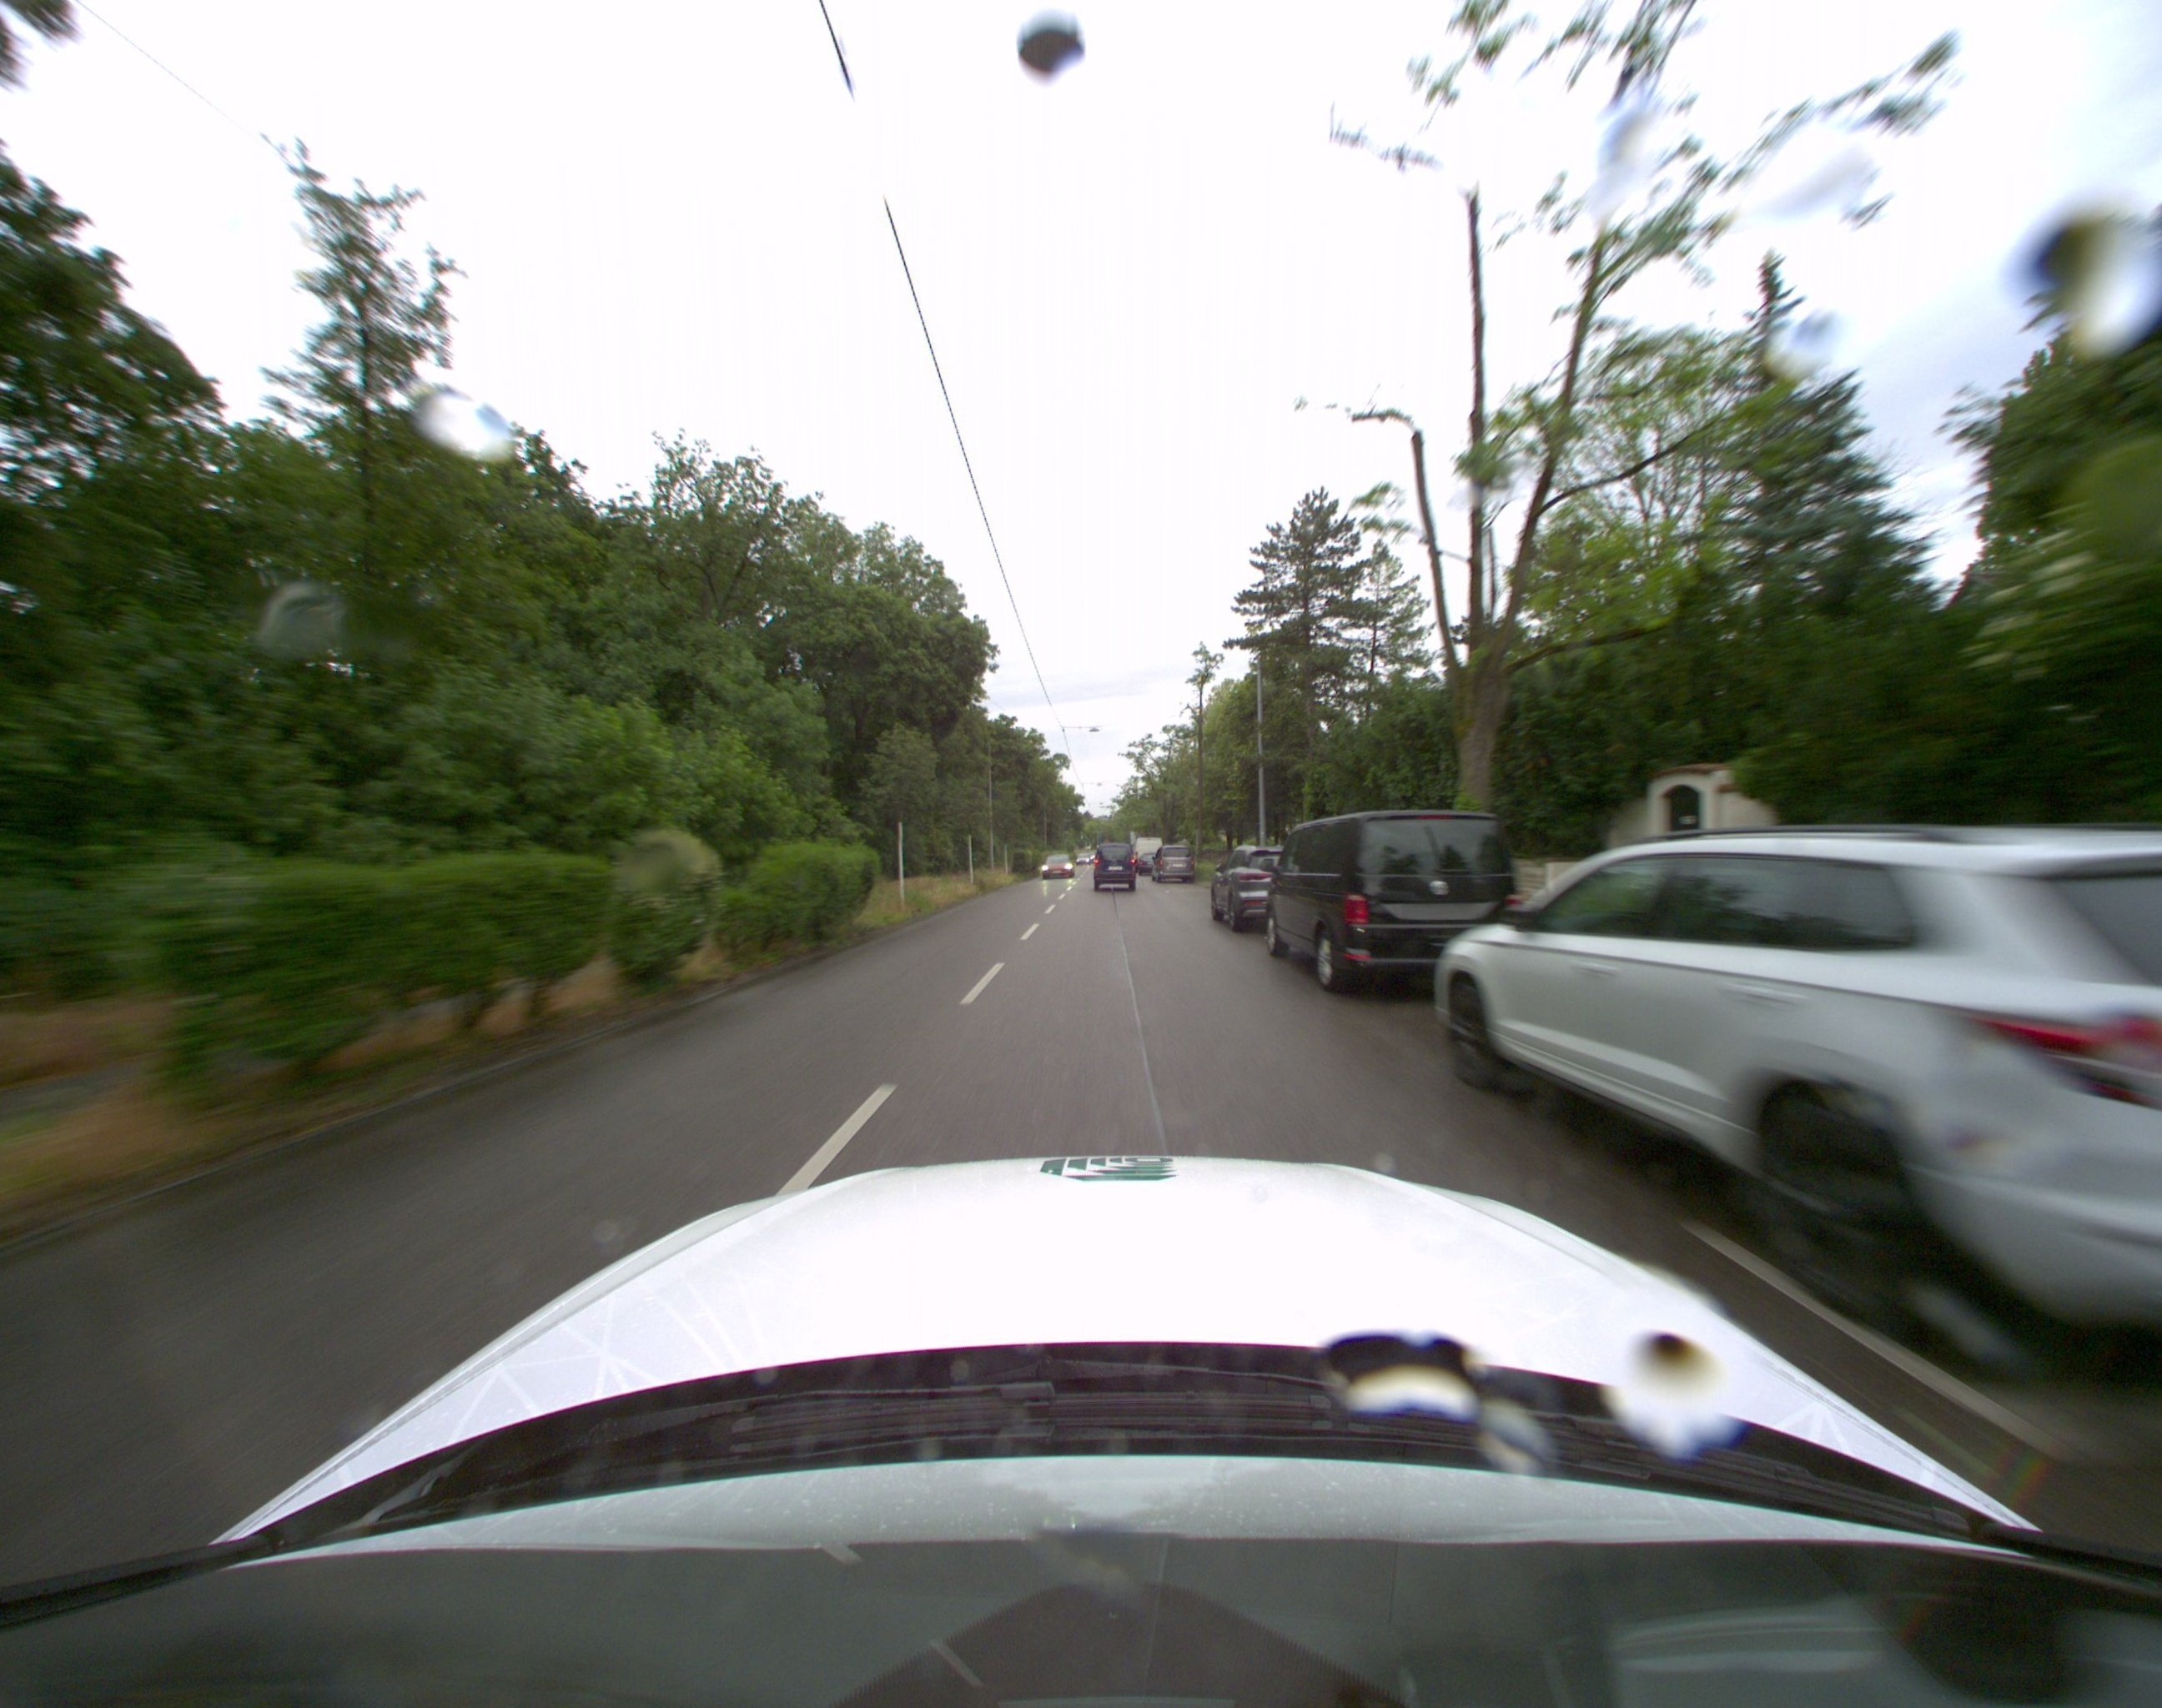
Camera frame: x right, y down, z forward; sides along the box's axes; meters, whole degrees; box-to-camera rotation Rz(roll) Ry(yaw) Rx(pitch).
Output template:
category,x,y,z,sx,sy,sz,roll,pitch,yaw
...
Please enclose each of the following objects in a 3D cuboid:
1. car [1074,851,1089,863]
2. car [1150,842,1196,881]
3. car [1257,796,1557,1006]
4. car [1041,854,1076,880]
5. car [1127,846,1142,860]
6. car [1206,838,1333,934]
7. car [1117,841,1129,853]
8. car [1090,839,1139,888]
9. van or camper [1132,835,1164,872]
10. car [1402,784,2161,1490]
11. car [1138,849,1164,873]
category,x,y,z,sx,sy,sz,roll,pitch,yaw
car,0.105,0.373,103.115,1.777,1.479,3.968,-2,-1,1
car,4.517,0.328,40.617,1.809,1.813,4.282,0,1,0
car,3.656,0.410,10.275,1.986,2.013,4.891,0,1,2
car,-1.349,0.784,50.918,1.853,1.480,4.158,-2,0,2
car,6.162,-0.140,94.028,1.714,1.505,4.053,0,1,2
car,3.715,0.532,16.785,1.767,1.723,4.329,0,1,2
car,8.843,-1.366,171.425,2.197,2.449,4.731,-2,0,2
car,1.275,0.332,32.522,1.762,1.830,3.540,0,1,-1
van or camper,4.955,-0.083,61.028,2.071,2.650,5.348,0,1,1
car,3.274,0.611,3.992,1.798,1.613,4.287,0,1,1
car,4.546,0.459,53.219,1.618,1.464,3.813,0,1,5
